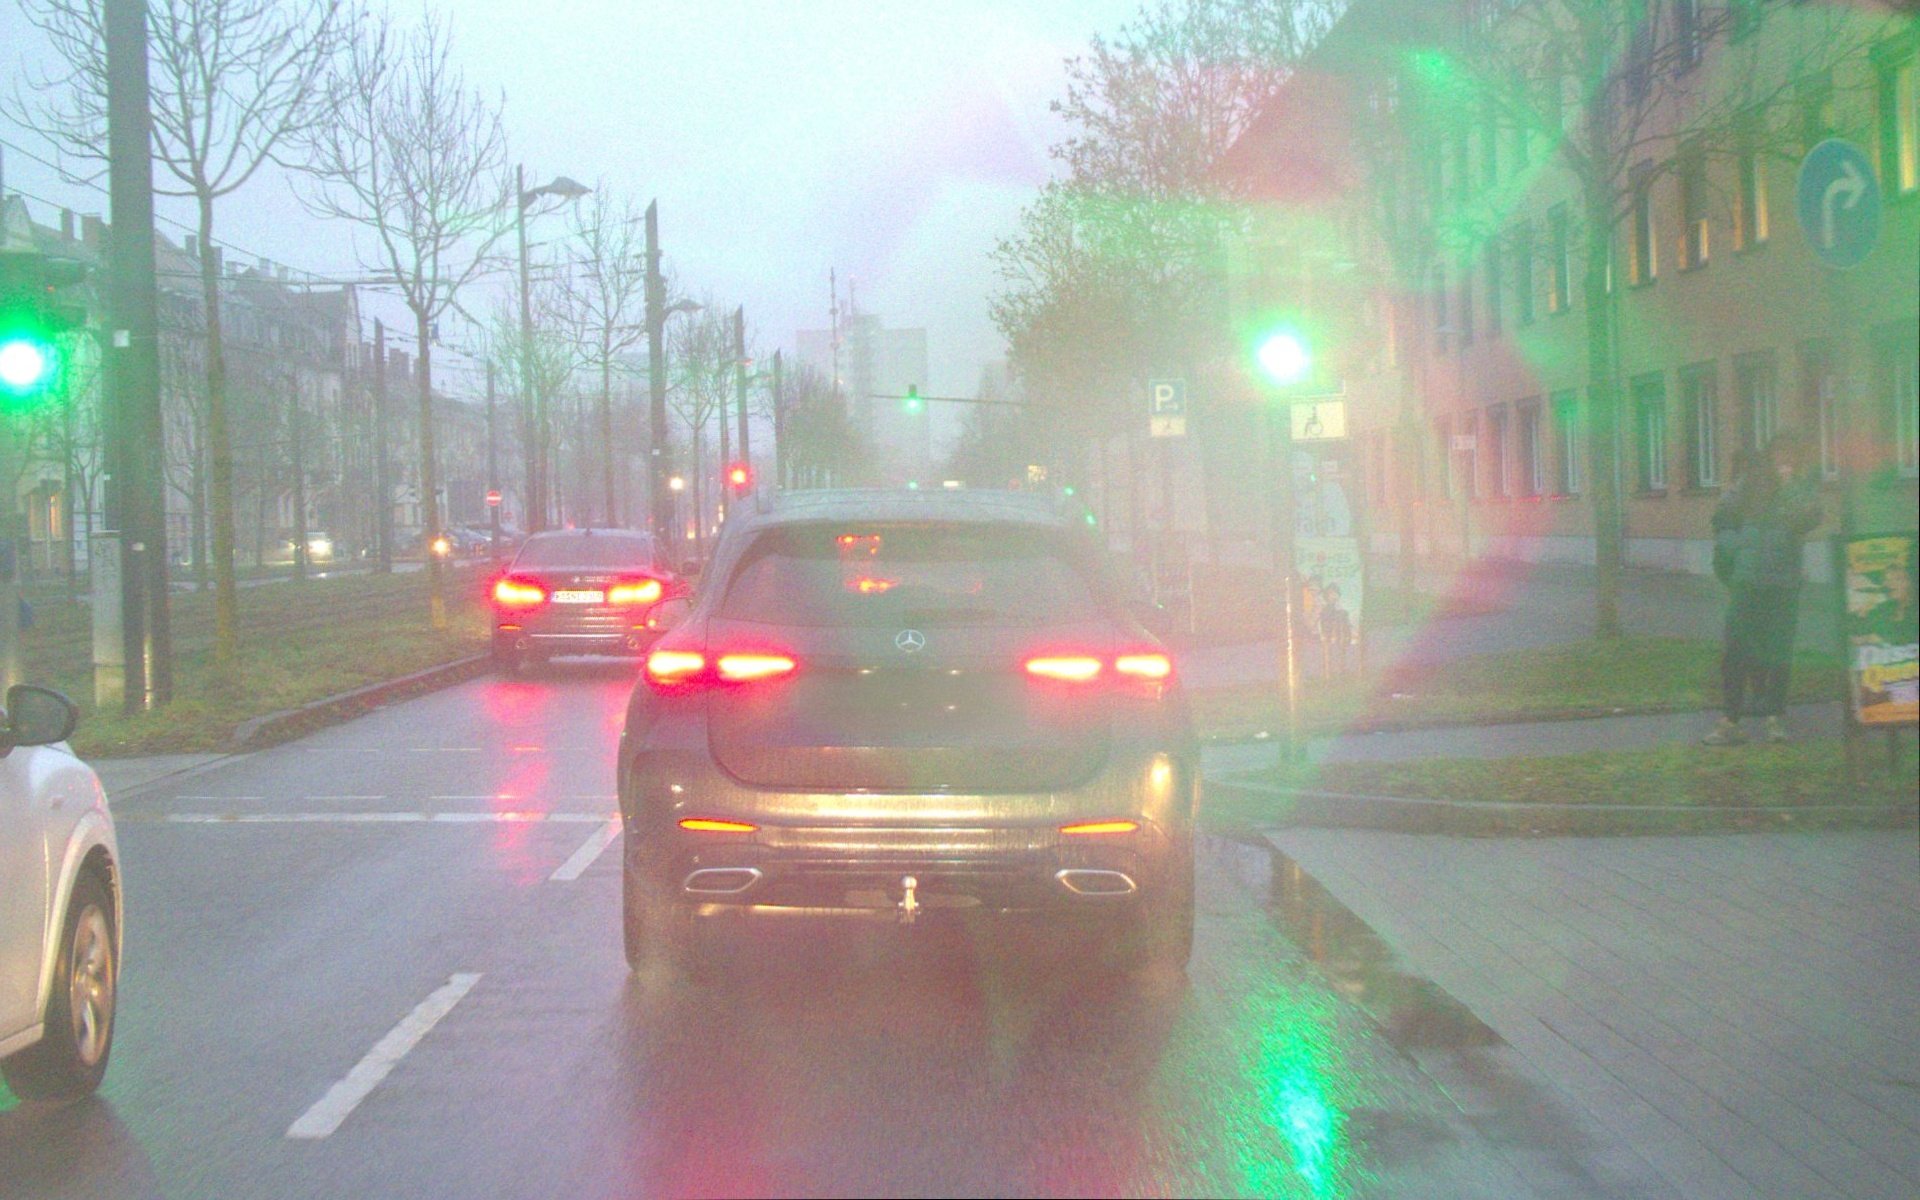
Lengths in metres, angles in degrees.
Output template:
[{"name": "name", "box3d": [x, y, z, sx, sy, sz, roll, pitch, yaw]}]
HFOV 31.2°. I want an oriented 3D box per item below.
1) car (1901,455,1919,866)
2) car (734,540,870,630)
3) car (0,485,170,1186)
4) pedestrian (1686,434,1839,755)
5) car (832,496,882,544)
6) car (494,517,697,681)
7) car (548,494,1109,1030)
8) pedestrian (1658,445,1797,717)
[{"name": "car", "box3d": [5.195, 0.207, 10.714, 3.987, 1.550, 1.742, -3, 1, 1]}, {"name": "car", "box3d": [-2.510, -0.264, 55.467, 1.993, 1.294, 3.479, -2, 1, 0]}, {"name": "car", "box3d": [-3.026, 0.549, 7.511, 1.672, 1.594, 4.054, 0, 1, 0]}, {"name": "pedestrian", "box3d": [4.661, -0.039, 19.982, 0.504, 1.818, 0.658, -3, 1, -26]}, {"name": "car", "box3d": [-4.341, -3.373, 144.481, 1.993, 1.908, 4.001, -2, 1, -2]}, {"name": "car", "box3d": [-3.715, -0.056, 35.600, 1.672, 1.594, 4.054, 0, 1, 0]}, {"name": "car", "box3d": [-0.406, 0.442, 12.348, 1.672, 1.594, 4.054, 0, 1, 0]}, {"name": "pedestrian", "box3d": [5.014, -0.126, 22.474, 0.504, 1.736, 0.658, -3, 2, -33]}]
